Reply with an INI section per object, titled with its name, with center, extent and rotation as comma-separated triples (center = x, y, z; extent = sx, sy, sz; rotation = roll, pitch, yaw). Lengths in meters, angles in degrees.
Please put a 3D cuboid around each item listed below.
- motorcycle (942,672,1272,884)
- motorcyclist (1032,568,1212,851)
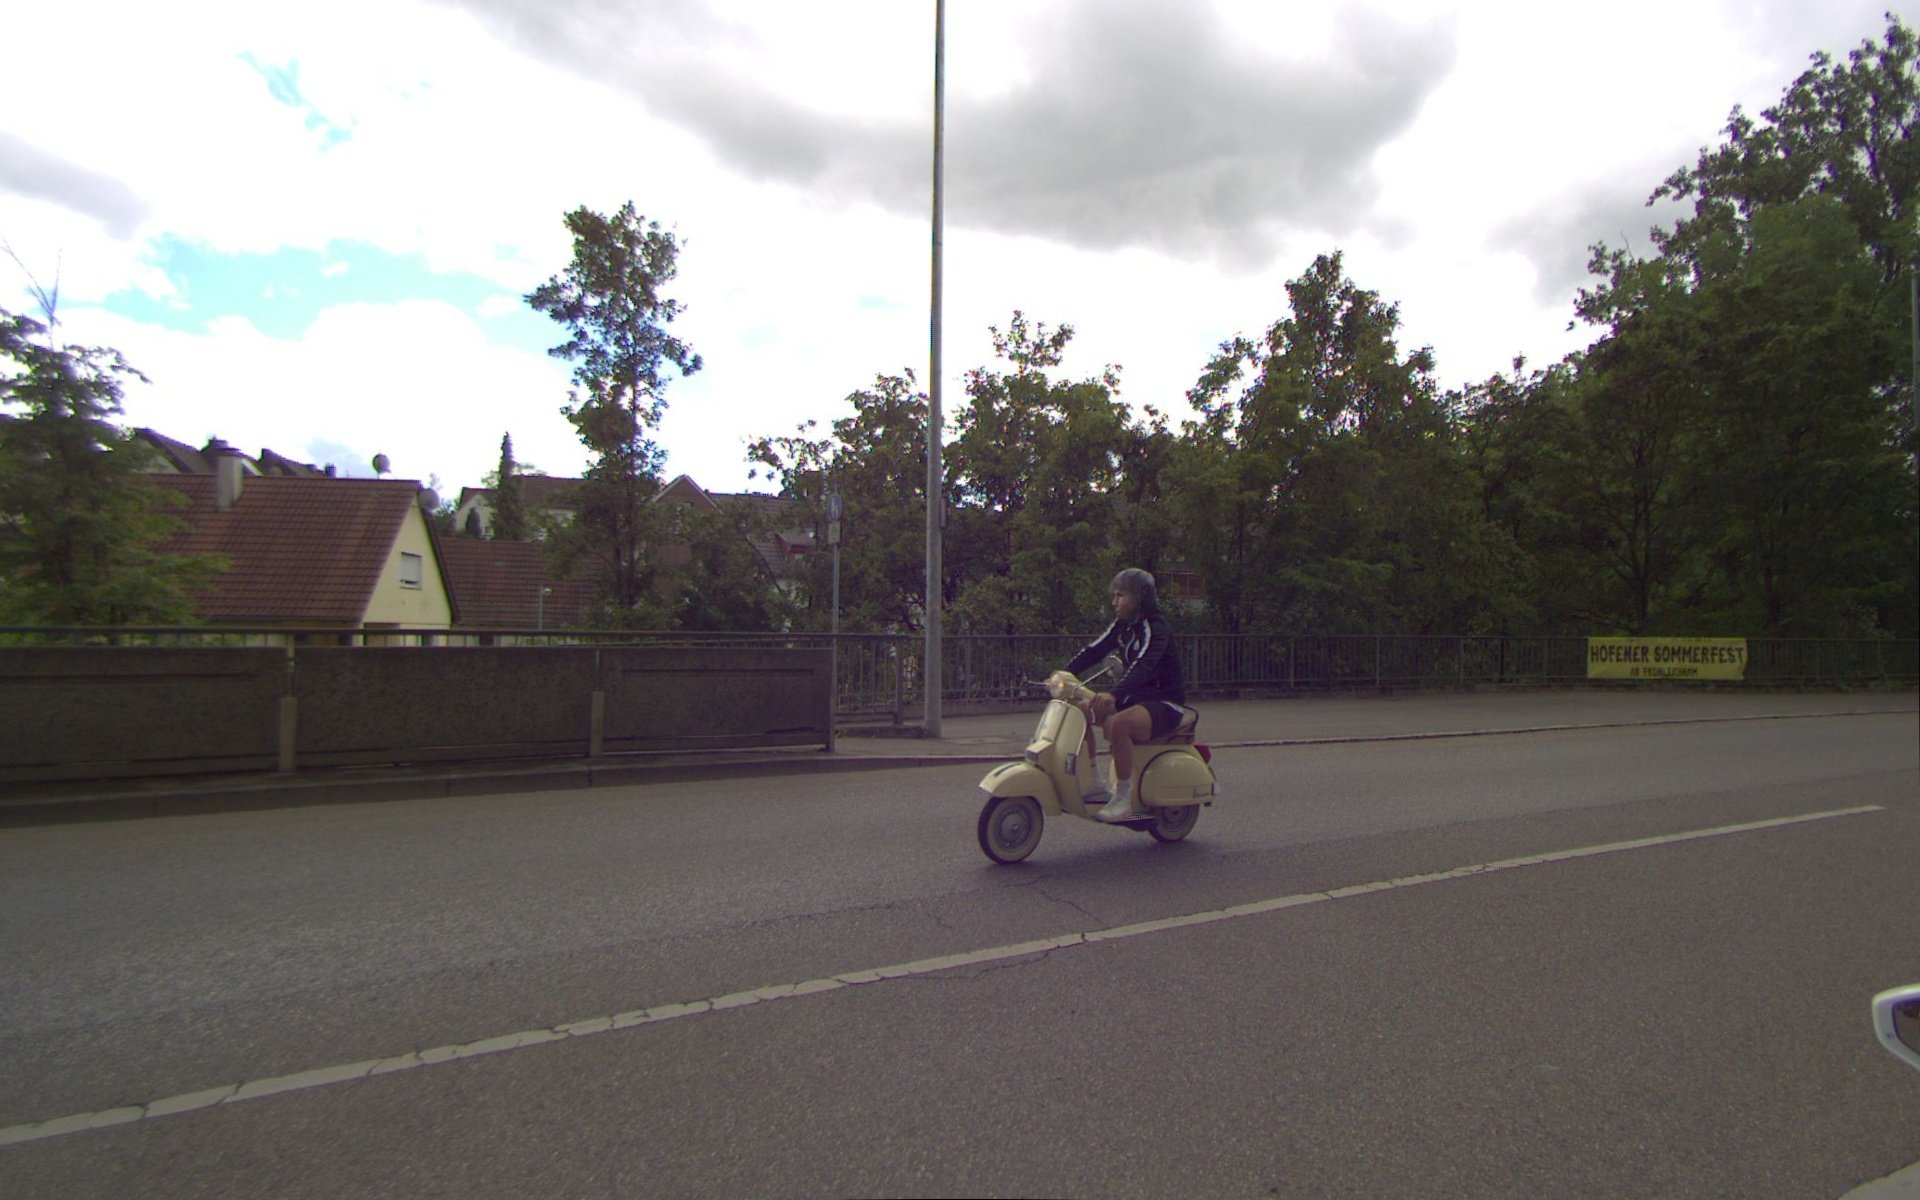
[motorcycle]
center = 0.893, 0.991, 6.030
extent = 1.862, 1.047, 0.742
rotation = 1, -1, -25
[motorcyclist]
center = 0.960, 0.614, 6.039
extent = 0.780, 1.559, 0.742
rotation = 1, -1, -26
